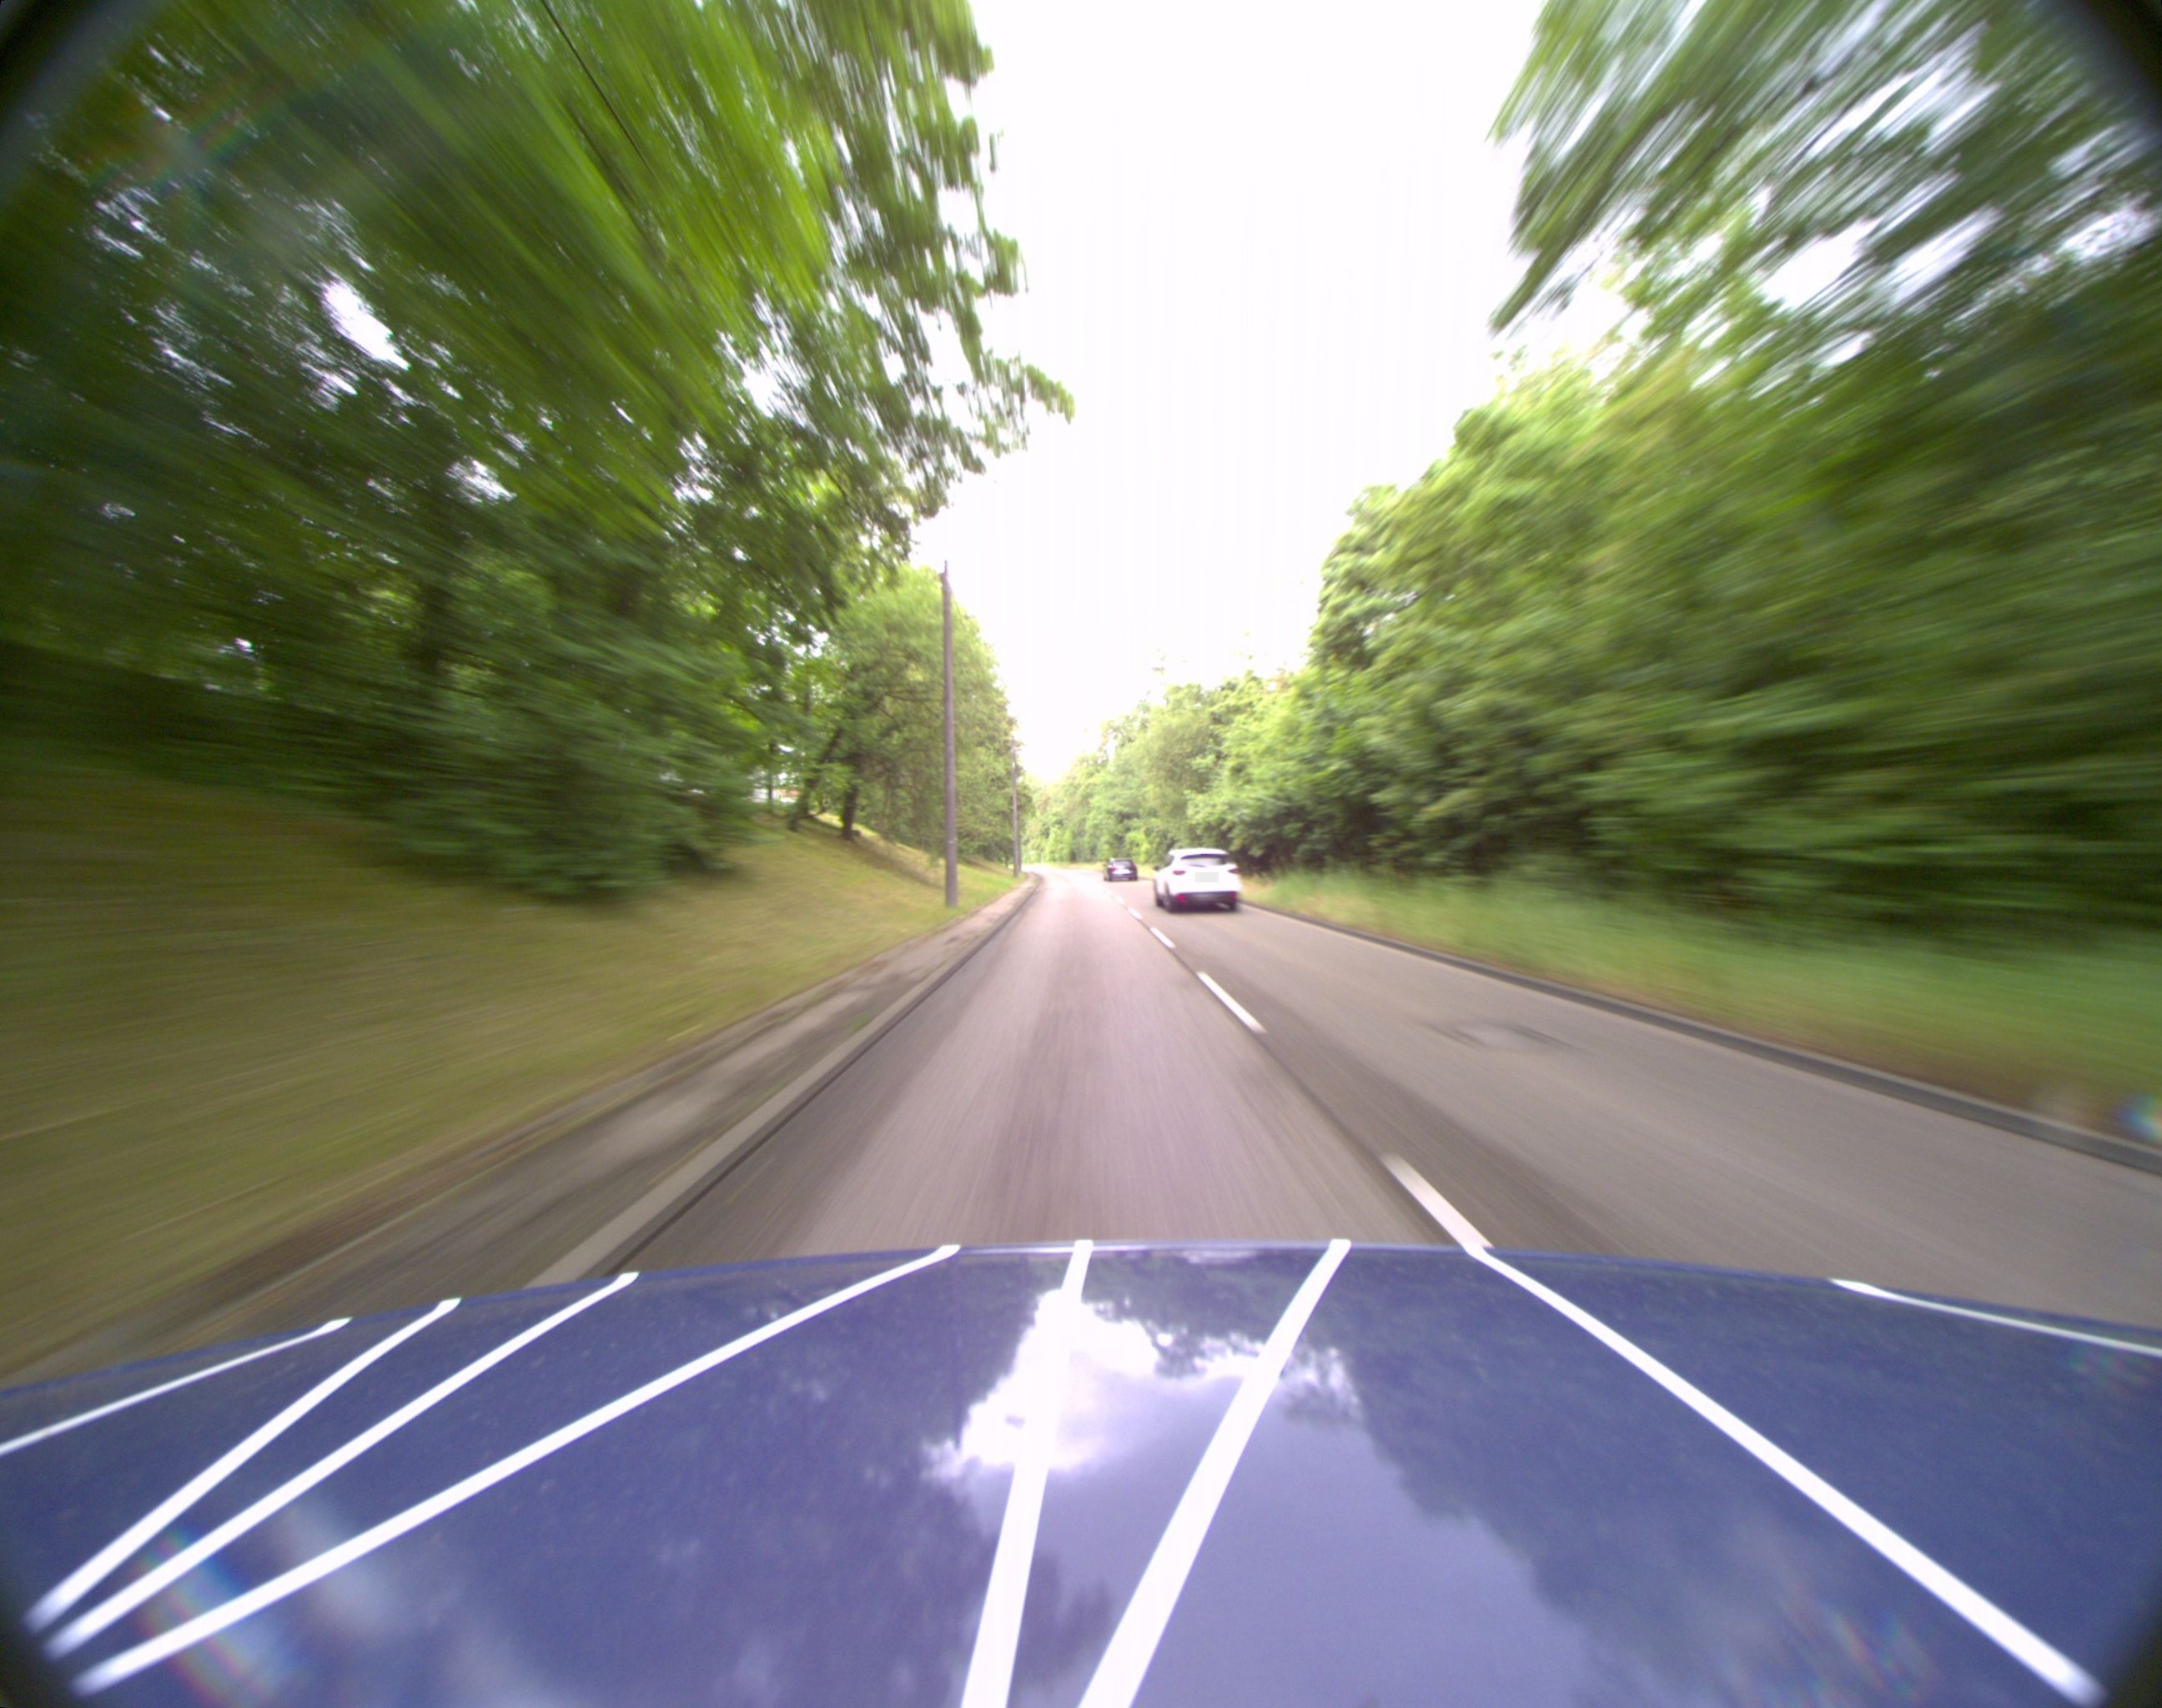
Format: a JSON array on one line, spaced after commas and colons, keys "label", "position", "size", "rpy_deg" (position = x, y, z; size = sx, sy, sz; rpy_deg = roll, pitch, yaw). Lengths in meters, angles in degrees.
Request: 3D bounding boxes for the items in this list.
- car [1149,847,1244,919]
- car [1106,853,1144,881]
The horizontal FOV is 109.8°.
[{"label": "car", "position": [3.054, 0.702, 20.937], "size": [1.824, 1.685, 4.286], "rpy_deg": [-3, 1, -1]}, {"label": "car", "position": [2.710, 0.765, 47.853], "size": [2.035, 1.499, 4.594], "rpy_deg": [-3, 1, -1]}]
